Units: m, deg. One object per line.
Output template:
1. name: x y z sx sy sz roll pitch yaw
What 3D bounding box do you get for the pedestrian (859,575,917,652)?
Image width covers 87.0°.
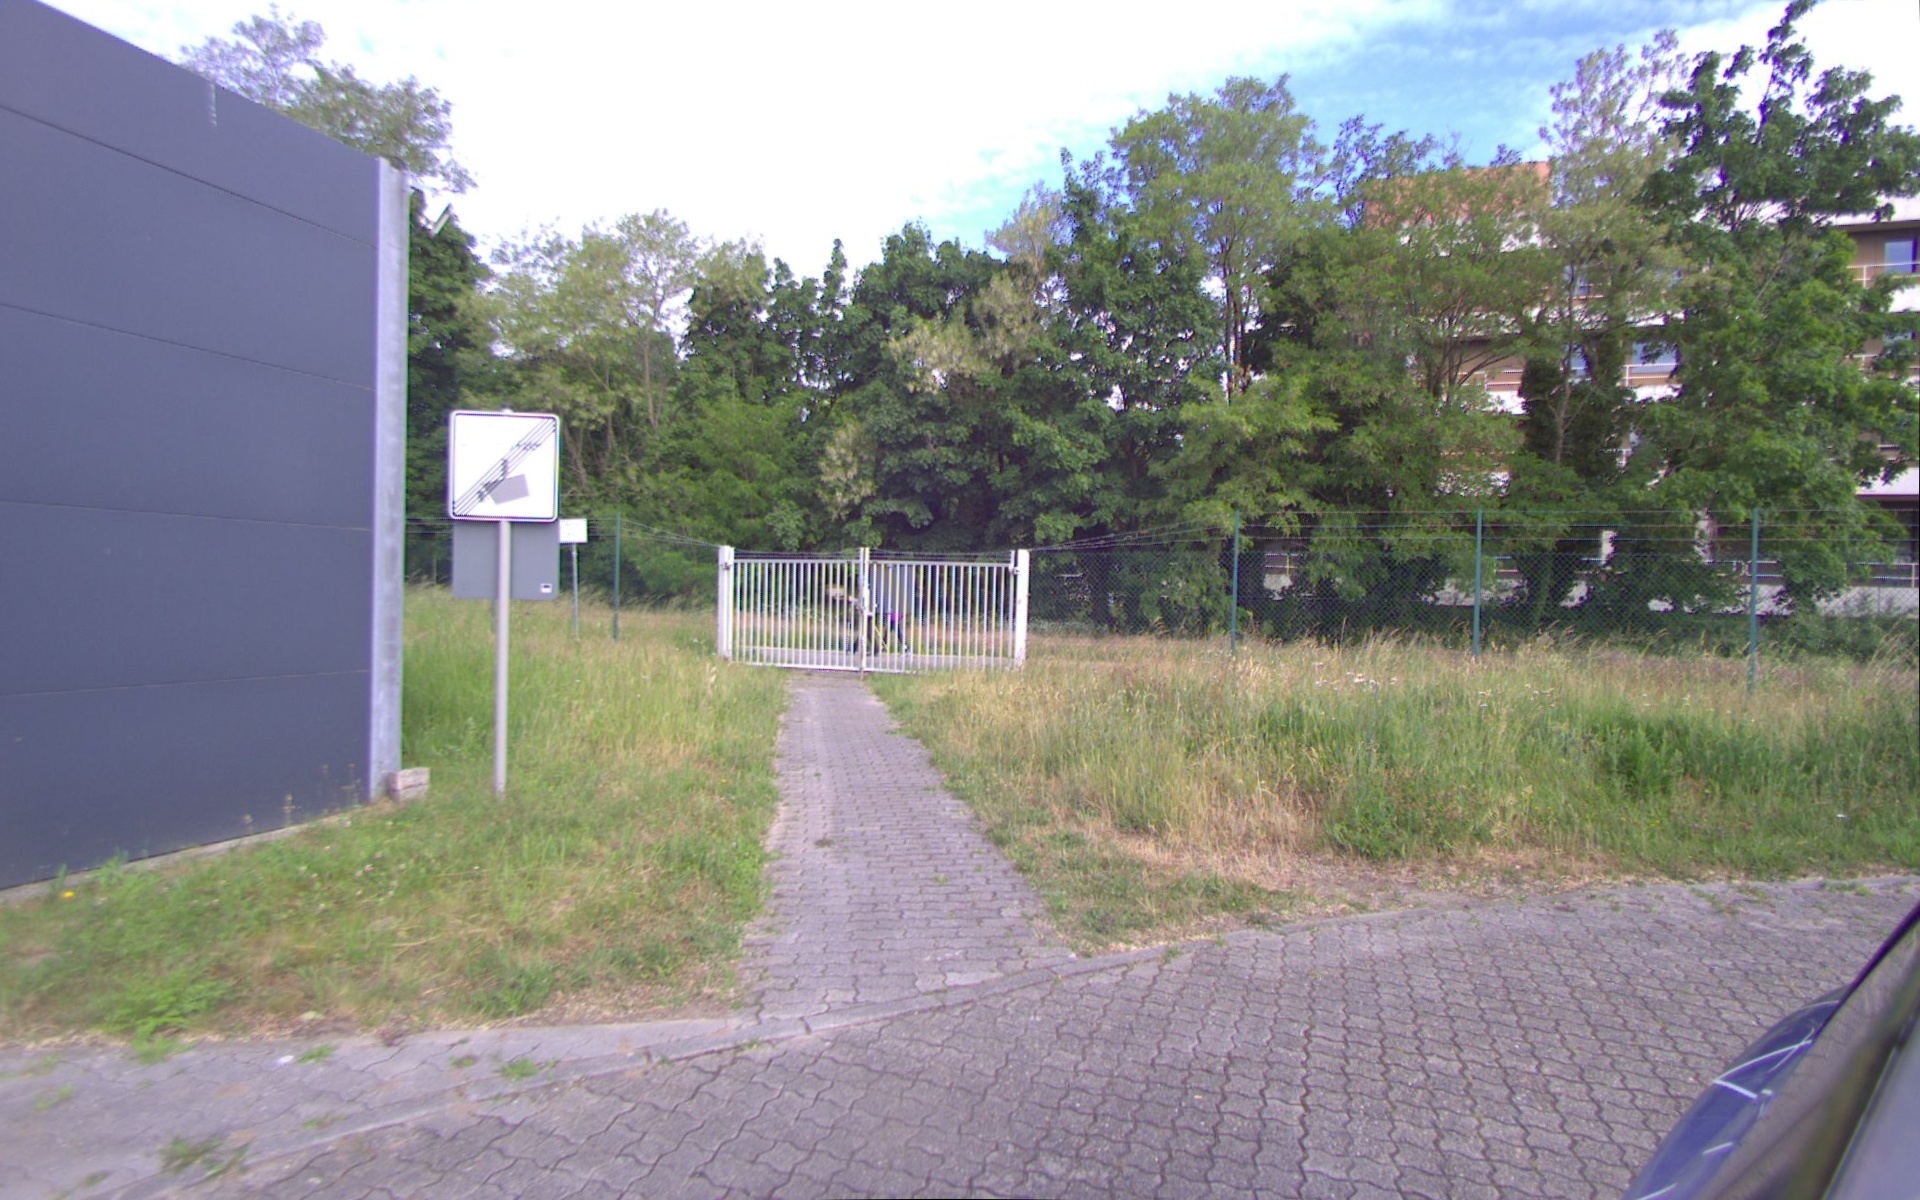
1. pedestrian: -1.546 0.273 21.759 1.023 1.593 0.732 2 1 23

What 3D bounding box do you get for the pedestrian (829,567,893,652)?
1. pedestrian: -2.055 0.175 21.095 1.027 1.703 0.837 2 1 26
